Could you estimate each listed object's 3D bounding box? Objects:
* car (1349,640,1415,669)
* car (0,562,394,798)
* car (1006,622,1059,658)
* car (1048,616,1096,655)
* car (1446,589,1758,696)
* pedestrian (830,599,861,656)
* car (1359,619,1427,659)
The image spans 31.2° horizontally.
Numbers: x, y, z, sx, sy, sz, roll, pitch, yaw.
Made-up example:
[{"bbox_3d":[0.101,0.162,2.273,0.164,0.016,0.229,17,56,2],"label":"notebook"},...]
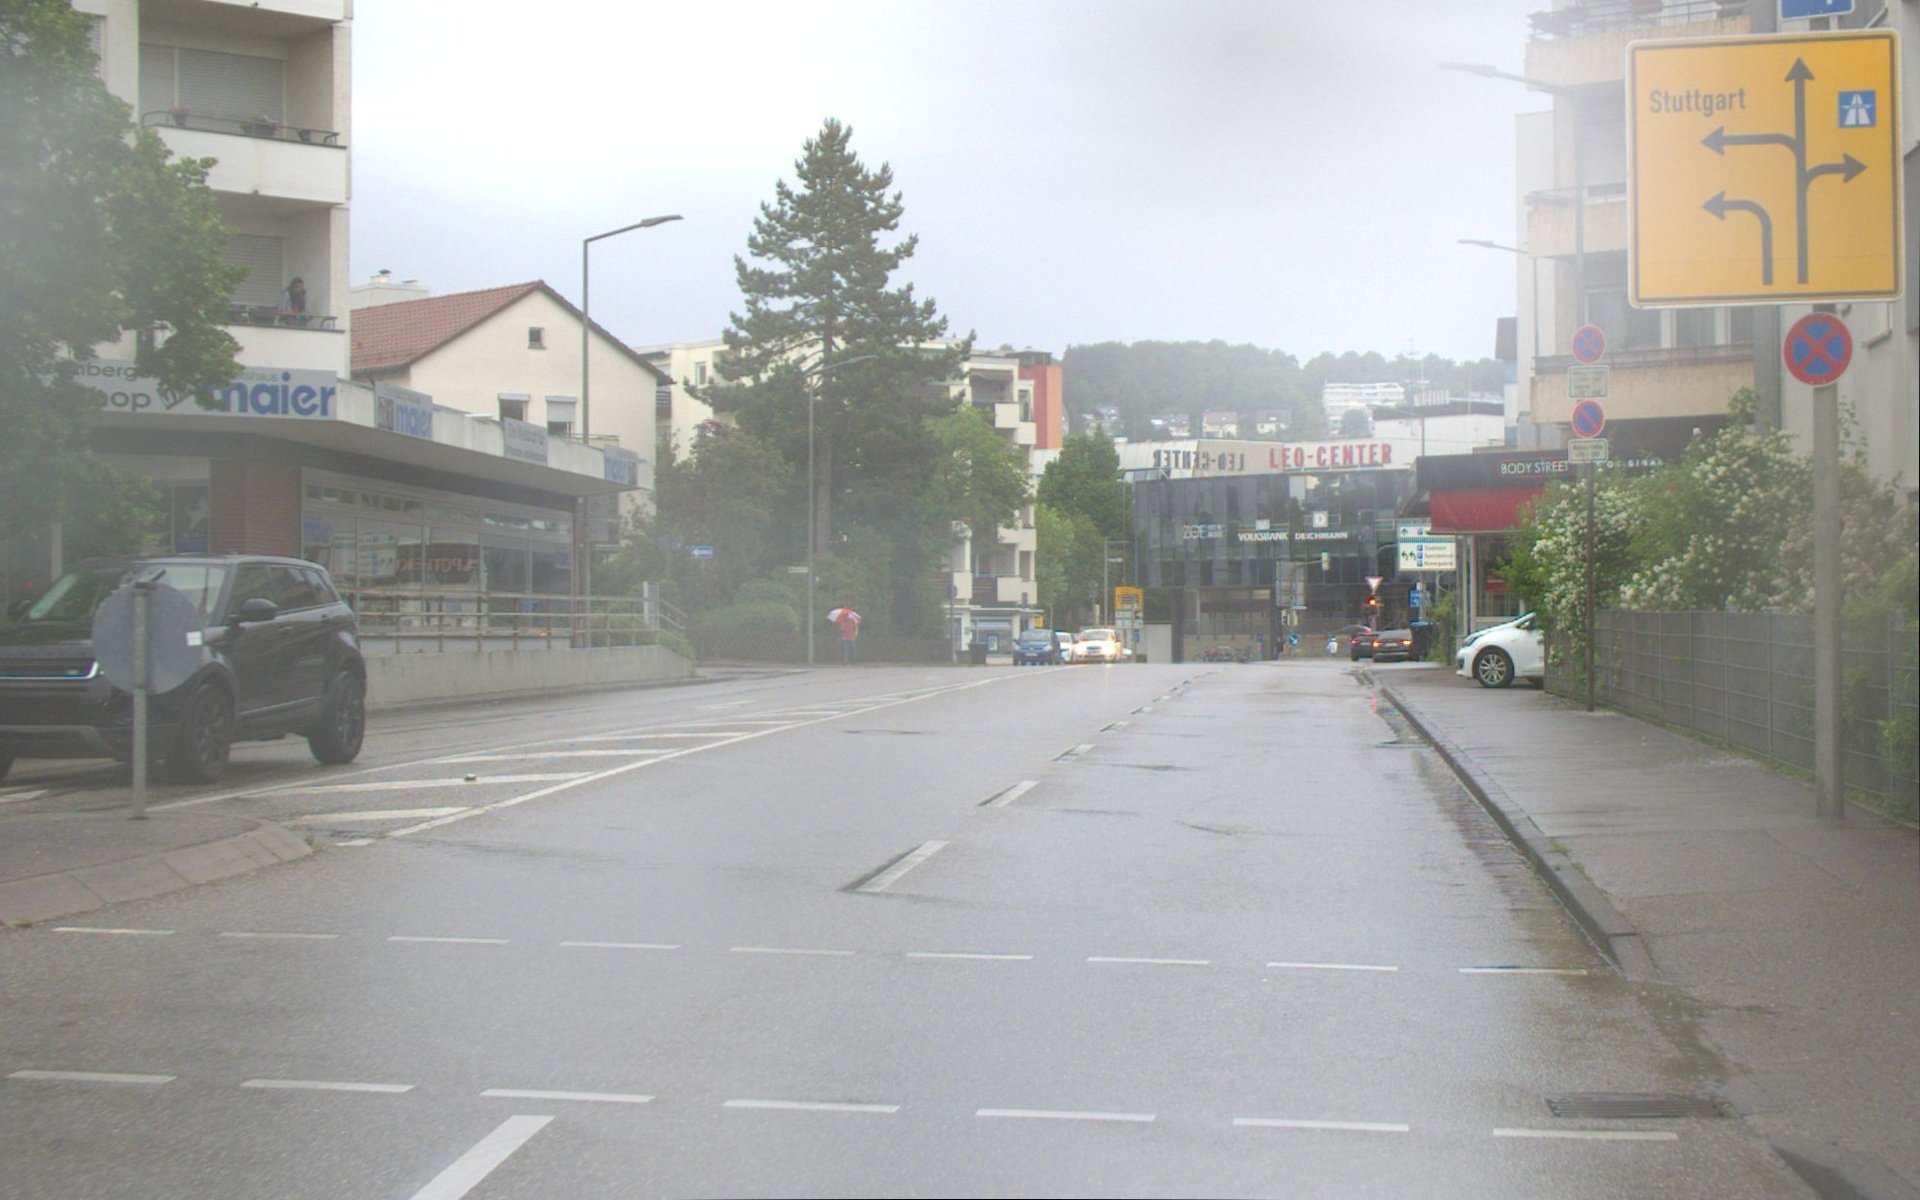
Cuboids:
[{"bbox_3d":[20.354,2.626,165.705,1.807,1.414,3.993,-1,-1,29],"label":"car"},{"bbox_3d":[-5.718,0.503,25.076,1.803,1.551,4.316,0,1,10],"label":"car"},{"bbox_3d":[3.043,1.675,144.070,1.652,1.516,4.322,0,-1,9],"label":"car"},{"bbox_3d":[4.540,1.423,138.842,1.698,1.404,3.999,-3,0,4],"label":"car"},{"bbox_3d":[9.713,0.618,52.138,4.265,1.489,1.869,1,2,35],"label":"car"},{"bbox_3d":[-3.284,0.795,98.874,0.869,1.601,1.103,0,-1,0],"label":"pedestrian"},{"bbox_3d":[18.455,1.675,146.283,1.995,1.528,4.642,1,-2,18],"label":"car"}]
